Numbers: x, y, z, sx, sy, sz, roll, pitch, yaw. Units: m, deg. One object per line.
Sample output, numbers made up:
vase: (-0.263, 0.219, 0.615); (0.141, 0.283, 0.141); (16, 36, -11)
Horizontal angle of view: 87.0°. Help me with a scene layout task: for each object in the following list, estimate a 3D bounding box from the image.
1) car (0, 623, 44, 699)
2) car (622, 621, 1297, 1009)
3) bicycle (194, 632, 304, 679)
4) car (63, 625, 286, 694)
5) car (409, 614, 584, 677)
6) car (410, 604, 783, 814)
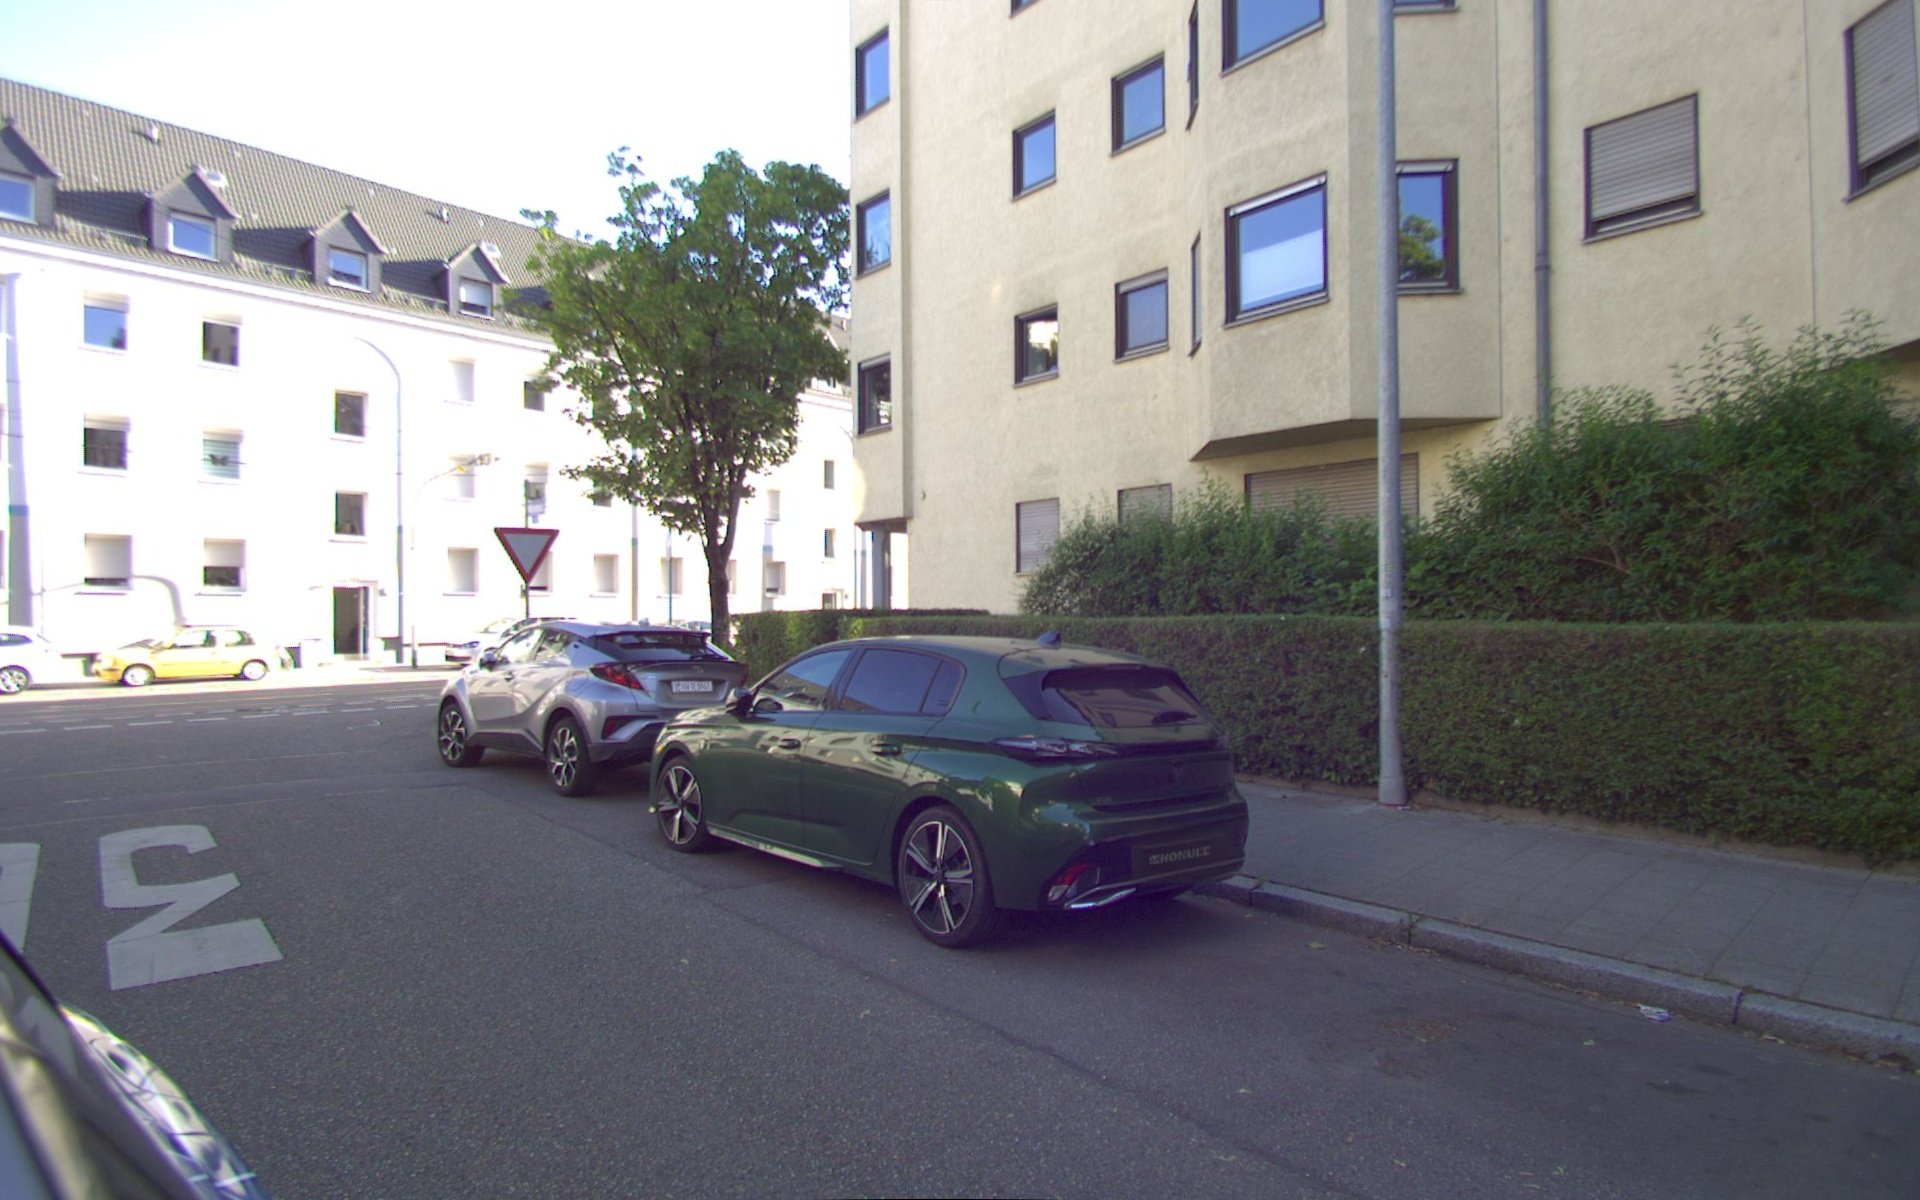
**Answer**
car: (-22.309, 1.326, 21.227); (1.685, 1.583, 4.447); (0, 0, 42)
car: (-0.311, 0.902, 6.089); (1.731, 1.508, 4.140); (3, -3, -42)
bicycle: (-19.609, 1.506, 27.945); (1.099, 1.206, 2.296); (-2, -1, 40)
car: (-19.219, 1.392, 24.914); (1.518, 1.441, 4.144); (0, 0, 41)
car: (-14.110, 1.335, 31.052); (1.759, 1.678, 4.565); (3, 1, 39)
car: (-3.766, 0.933, 10.152); (4.000, 1.672, 1.882); (-1, -3, 43)
